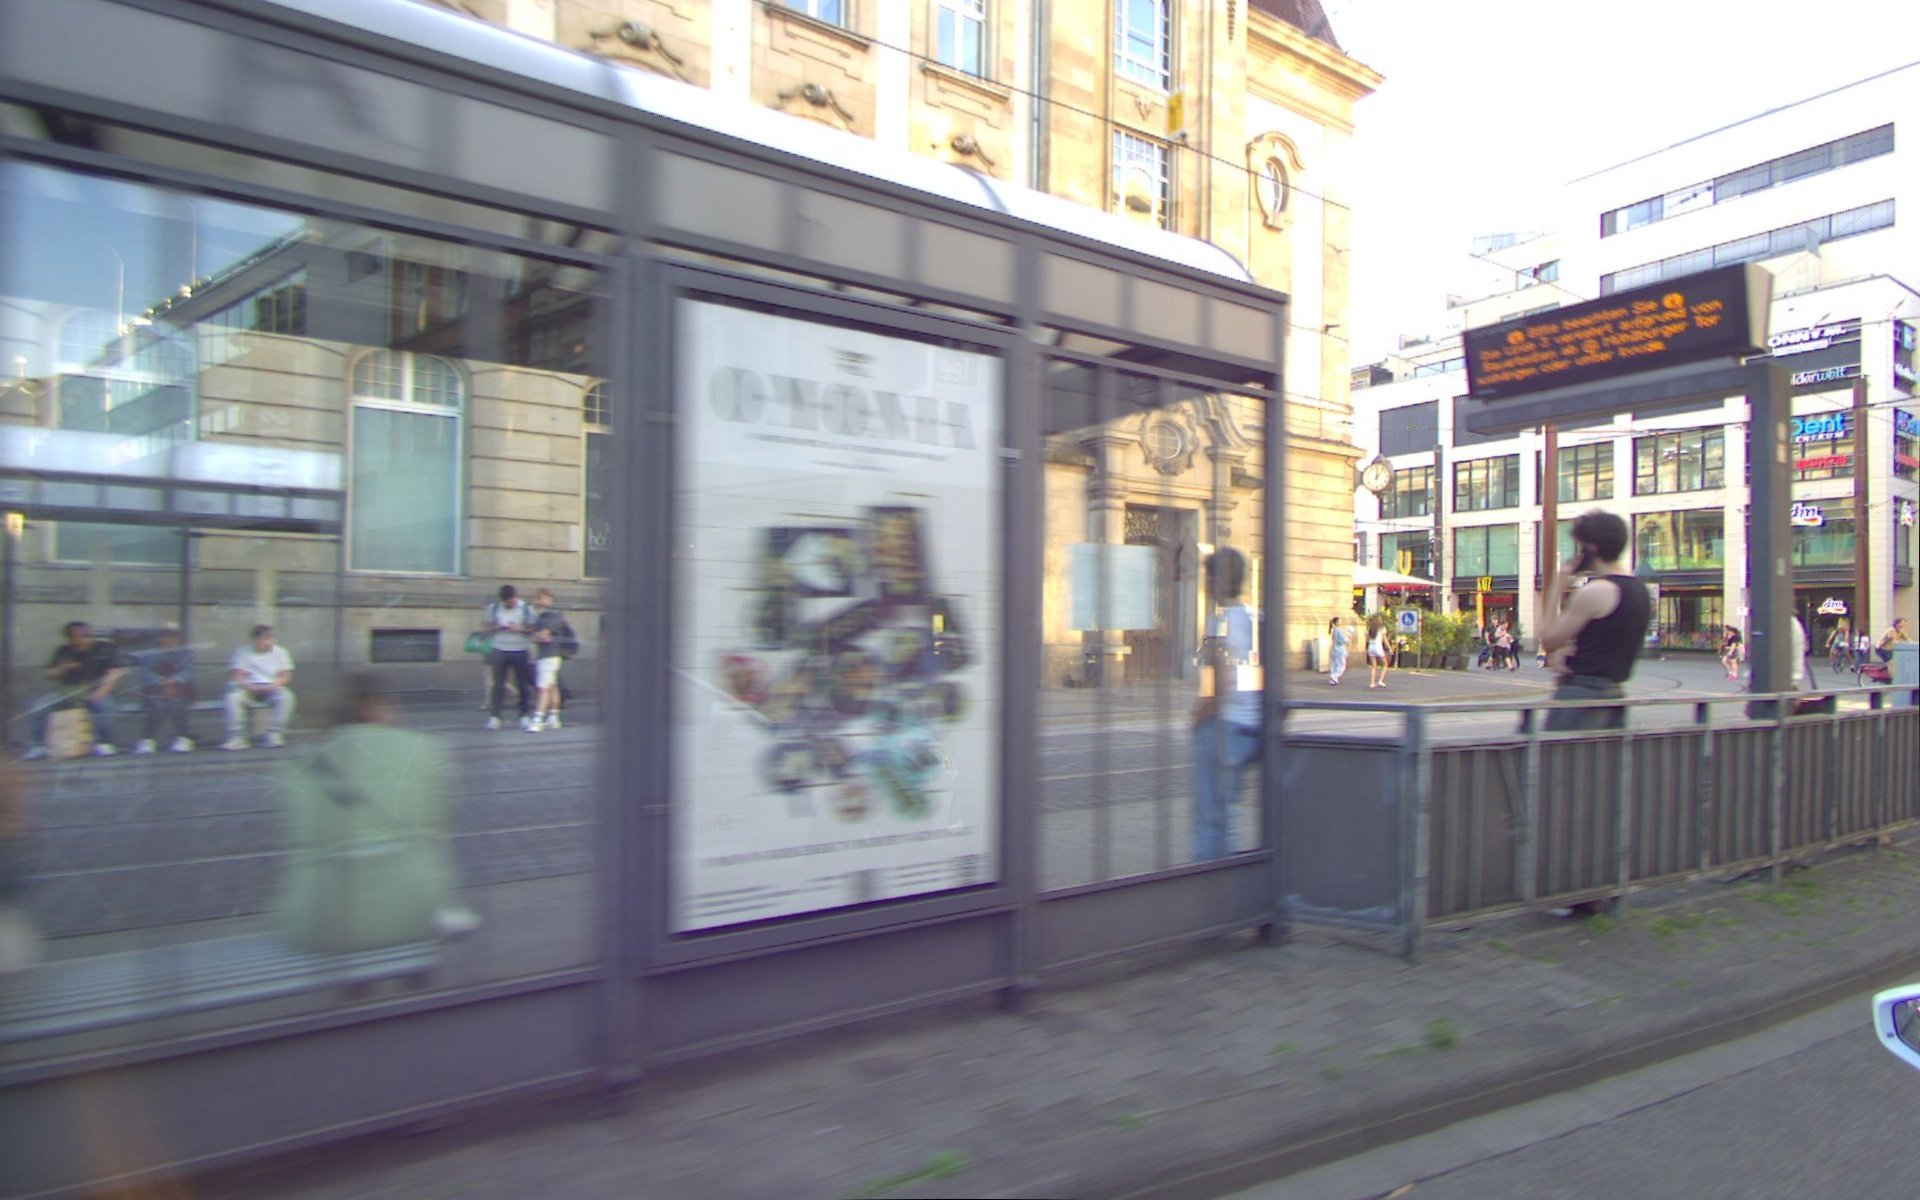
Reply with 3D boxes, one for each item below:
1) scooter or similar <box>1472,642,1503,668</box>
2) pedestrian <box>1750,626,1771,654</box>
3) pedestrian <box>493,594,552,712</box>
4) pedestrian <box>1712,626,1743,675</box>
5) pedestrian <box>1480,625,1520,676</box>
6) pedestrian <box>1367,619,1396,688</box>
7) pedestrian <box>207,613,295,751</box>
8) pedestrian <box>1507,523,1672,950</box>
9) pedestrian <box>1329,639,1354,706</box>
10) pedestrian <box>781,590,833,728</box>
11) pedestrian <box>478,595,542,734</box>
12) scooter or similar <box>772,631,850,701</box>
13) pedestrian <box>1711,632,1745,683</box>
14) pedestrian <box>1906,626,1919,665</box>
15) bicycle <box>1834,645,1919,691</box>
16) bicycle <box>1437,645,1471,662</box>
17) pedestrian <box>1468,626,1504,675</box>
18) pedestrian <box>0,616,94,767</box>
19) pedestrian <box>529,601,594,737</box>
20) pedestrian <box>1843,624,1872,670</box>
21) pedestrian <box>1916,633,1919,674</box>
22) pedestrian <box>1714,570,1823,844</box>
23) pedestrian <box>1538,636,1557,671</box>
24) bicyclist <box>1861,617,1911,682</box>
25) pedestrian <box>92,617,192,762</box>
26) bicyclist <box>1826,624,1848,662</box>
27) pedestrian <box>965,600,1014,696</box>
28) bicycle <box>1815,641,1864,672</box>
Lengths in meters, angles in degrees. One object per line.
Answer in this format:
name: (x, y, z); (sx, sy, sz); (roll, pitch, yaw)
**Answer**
scooter or similar: (19.591, 2.038, 37.323); (0.873, 0.916, 1.097); (0, -1, 21)
pedestrian: (45.081, 2.250, 56.554); (0.779, 1.546, 0.572); (2, 0, -21)
pedestrian: (-6.270, 0.740, 14.383); (0.624, 1.636, 0.695); (2, 0, -34)
pedestrian: (25.768, 1.684, 33.719); (0.759, 1.635, 0.665); (0, -1, 32)
pedestrian: (17.701, 1.653, 32.944); (0.793, 1.650, 0.830); (1, -1, -24)
pedestrian: (9.642, 1.213, 22.976); (0.517, 1.545, 0.503); (1, -1, 14)
pedestrian: (-7.150, 0.813, 10.152); (0.630, 1.345, 0.515); (2, -1, -30)
pedestrian: (2.856, 0.578, 4.555); (0.588, 1.791, 0.409); (2, 0, -35)
pedestrian: (9.043, 1.700, 23.798); (0.491, 1.545, 0.520); (1, -1, 16)
pedestrian: (-2.045, 0.774, 13.433); (0.464, 1.800, 0.555); (1, -1, -37)
pedestrian: (-5.561, 0.789, 12.406); (0.630, 1.667, 0.515); (2, -1, -30)
scooter or similar: (-2.665, 1.175, 17.976); (1.278, 1.197, 0.484); (2, 0, -32)
pedestrian: (25.302, 1.875, 33.087); (0.809, 1.635, 0.692); (0, -1, 32)
pedestrian: (47.405, 2.242, 49.672); (0.804, 1.879, 0.572); (2, 0, -21)
bicycle: (23.407, 1.717, 25.583); (1.596, 1.118, 0.629); (-1, -3, 29)
bicycle: (30.884, 3.368, 62.829); (1.888, 0.999, 0.451); (2, 0, 2)
pedestrian: (17.887, 1.703, 34.171); (0.678, 1.650, 0.971); (1, -1, -6)
pedestrian: (-8.538, 0.827, 9.311); (0.630, 1.345, 0.515); (2, -1, -30)
pedestrian: (-4.827, 0.825, 12.164); (0.630, 1.590, 0.515); (2, -1, -30)
pedestrian: (33.245, 1.739, 37.194); (0.523, 1.696, 0.647); (1, -1, -25)
pedestrian: (40.191, 2.237, 41.733); (0.643, 1.696, 0.525); (1, -1, -32)
pedestrian: (5.157, 0.655, 6.409); (0.544, 1.663, 0.383); (2, 0, -35)
pedestrian: (21.505, 1.957, 36.771); (0.476, 1.259, 0.411); (1, -1, -13)
bicyclist: (23.520, 1.256, 25.526); (0.777, 1.614, 0.609); (0, -1, 28)
pedestrian: (-7.907, 0.850, 9.734); (0.630, 1.345, 0.515); (2, -1, -30)
bicyclist: (33.207, 1.627, 38.014); (0.556, 1.446, 0.419); (2, 0, -25)
pedestrian: (0.561, 0.900, 19.286); (0.699, 1.800, 0.616); (1, -1, -36)
bicycle: (33.344, 2.147, 38.095); (1.993, 1.112, 0.571); (2, 0, -23)
